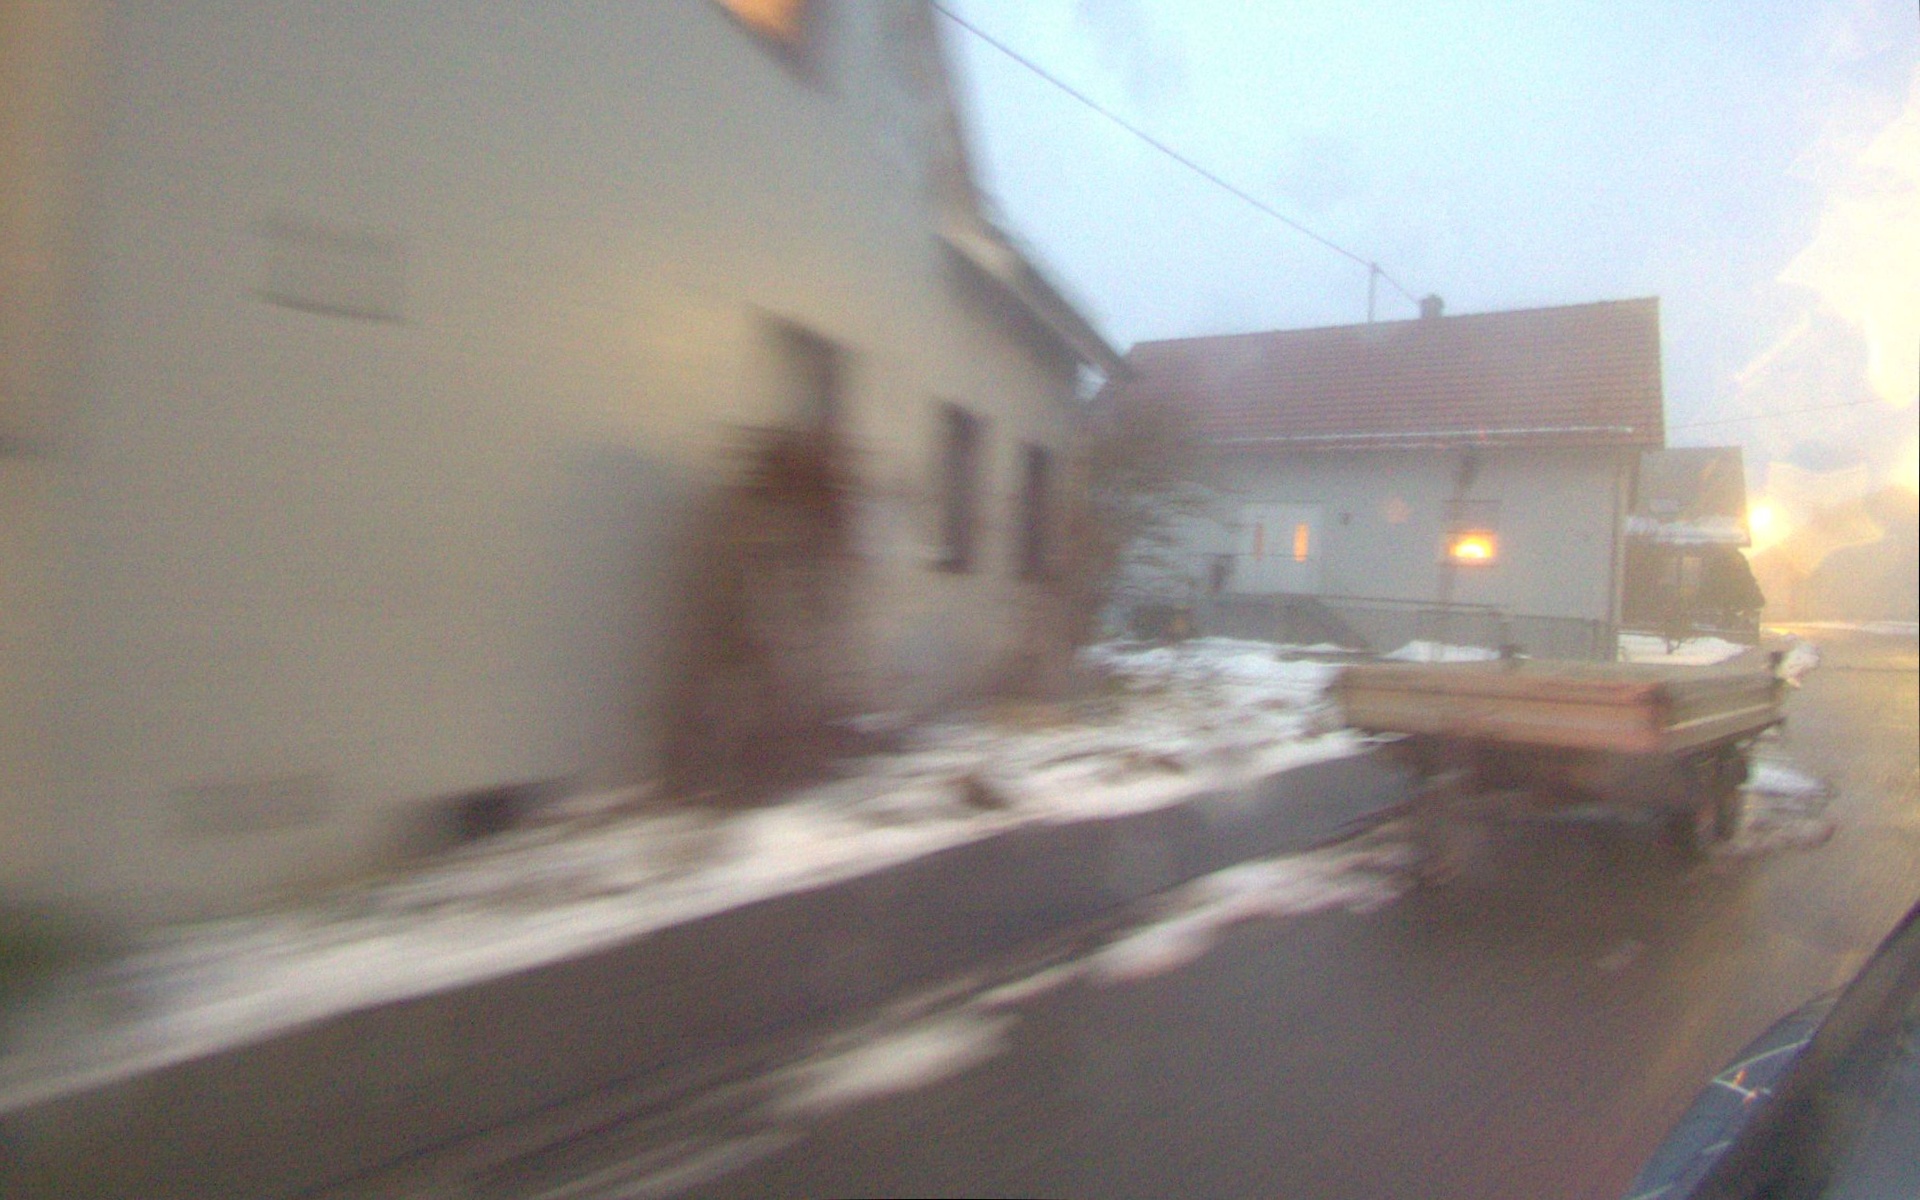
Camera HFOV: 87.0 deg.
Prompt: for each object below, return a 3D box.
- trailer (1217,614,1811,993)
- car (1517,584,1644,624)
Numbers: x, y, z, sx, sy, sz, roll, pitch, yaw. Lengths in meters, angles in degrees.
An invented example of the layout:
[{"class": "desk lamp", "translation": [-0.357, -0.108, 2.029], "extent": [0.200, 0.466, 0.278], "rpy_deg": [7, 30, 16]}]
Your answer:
[{"class": "trailer", "translation": [3.705, 0.818, 6.277], "extent": [4.654, 1.405, 1.995], "rpy_deg": [0, 0, -45]}, {"class": "car", "translation": [25.984, 0.128, 42.502], "extent": [4.428, 1.607, 1.977], "rpy_deg": [0, 1, 32]}]
